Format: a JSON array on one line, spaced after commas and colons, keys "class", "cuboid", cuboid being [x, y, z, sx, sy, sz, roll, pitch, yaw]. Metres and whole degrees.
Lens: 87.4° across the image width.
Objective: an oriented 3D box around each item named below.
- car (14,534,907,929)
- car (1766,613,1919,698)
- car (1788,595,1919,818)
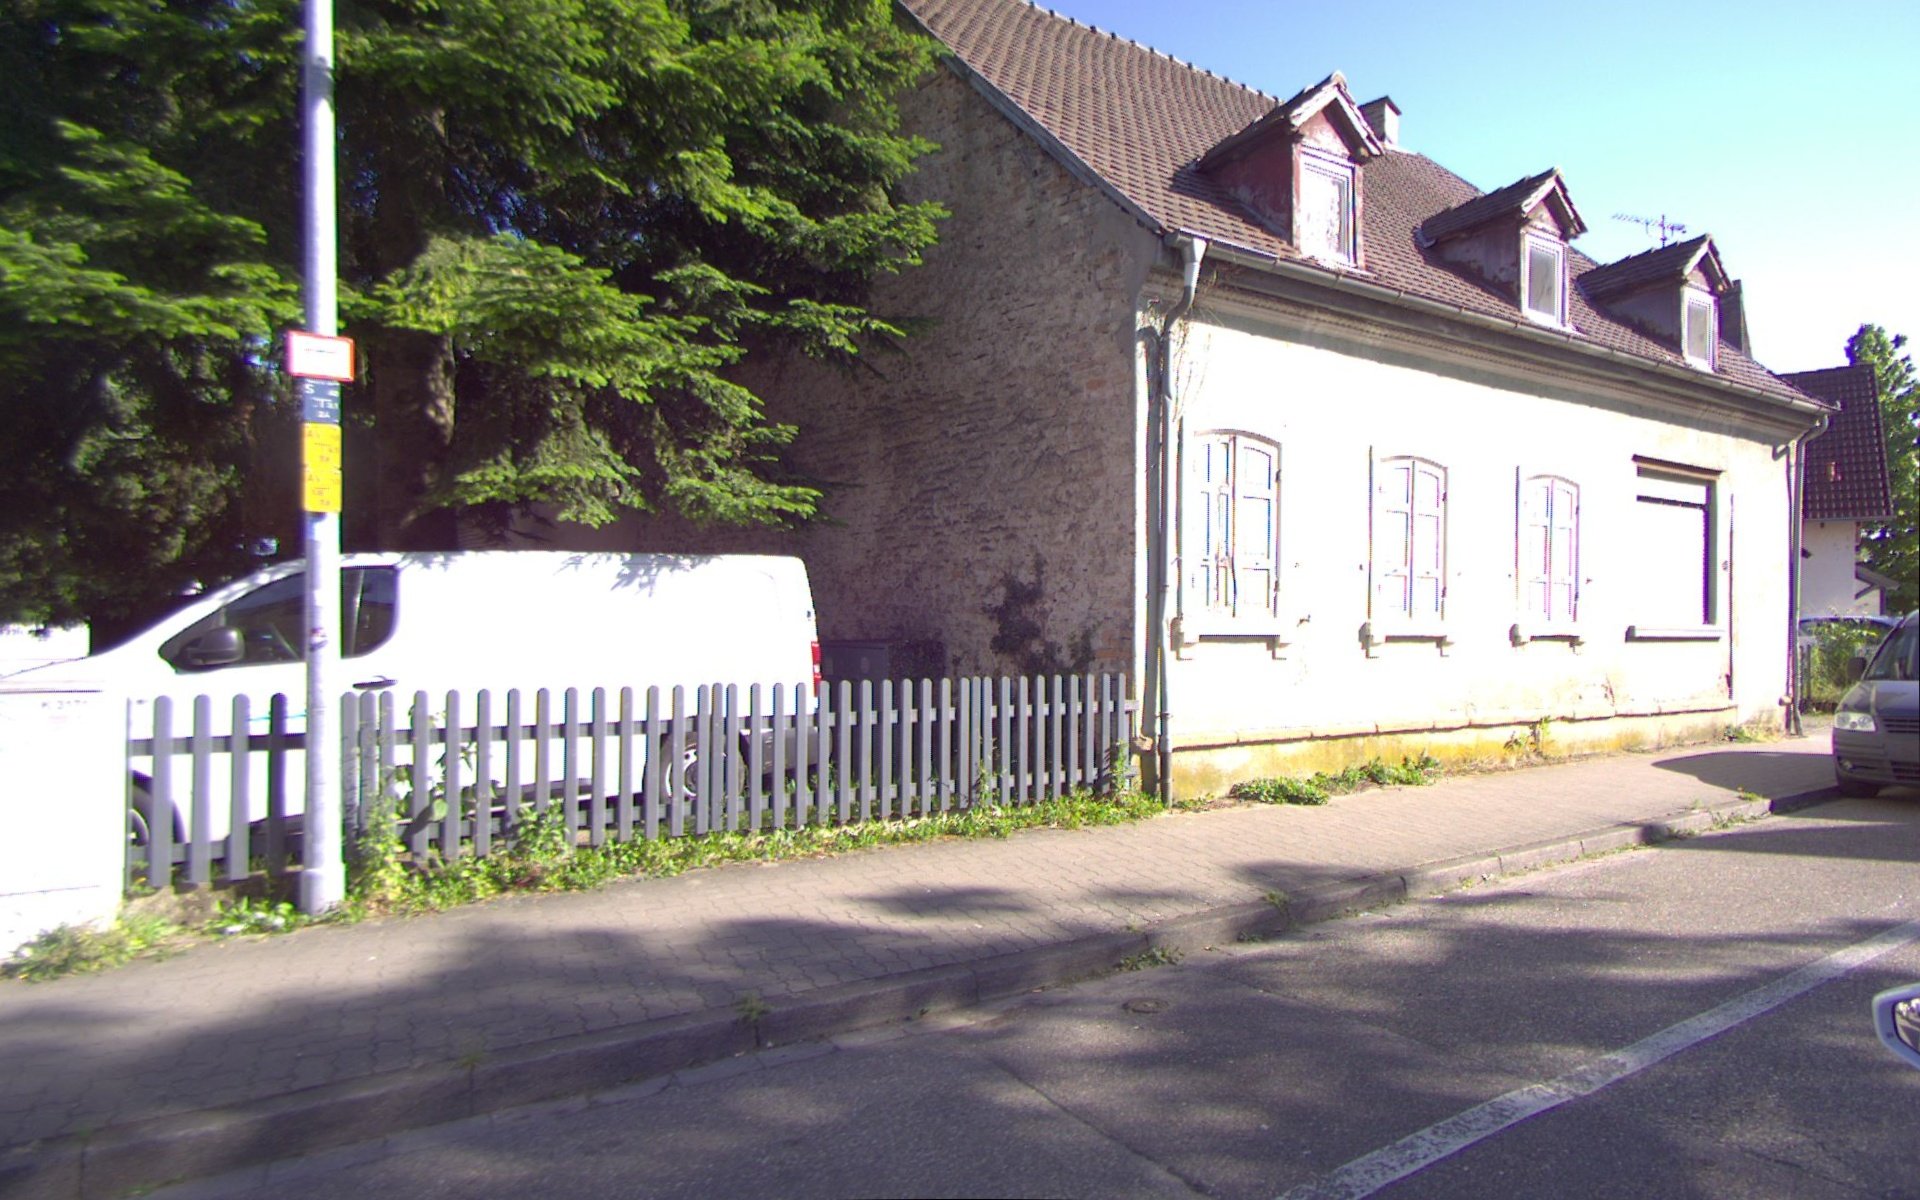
[{"class": "car", "cuboid": [-3.071, 0.698, 7.216, 5.083, 1.981, 1.930, 0, -1, -31]}, {"class": "car", "cuboid": [20.065, 1.177, 21.584, 4.143, 1.755, 1.822, -3, -3, 43]}, {"class": "car", "cuboid": [9.696, 0.892, 9.379, 4.156, 1.838, 1.816, 0, -3, -33]}]
